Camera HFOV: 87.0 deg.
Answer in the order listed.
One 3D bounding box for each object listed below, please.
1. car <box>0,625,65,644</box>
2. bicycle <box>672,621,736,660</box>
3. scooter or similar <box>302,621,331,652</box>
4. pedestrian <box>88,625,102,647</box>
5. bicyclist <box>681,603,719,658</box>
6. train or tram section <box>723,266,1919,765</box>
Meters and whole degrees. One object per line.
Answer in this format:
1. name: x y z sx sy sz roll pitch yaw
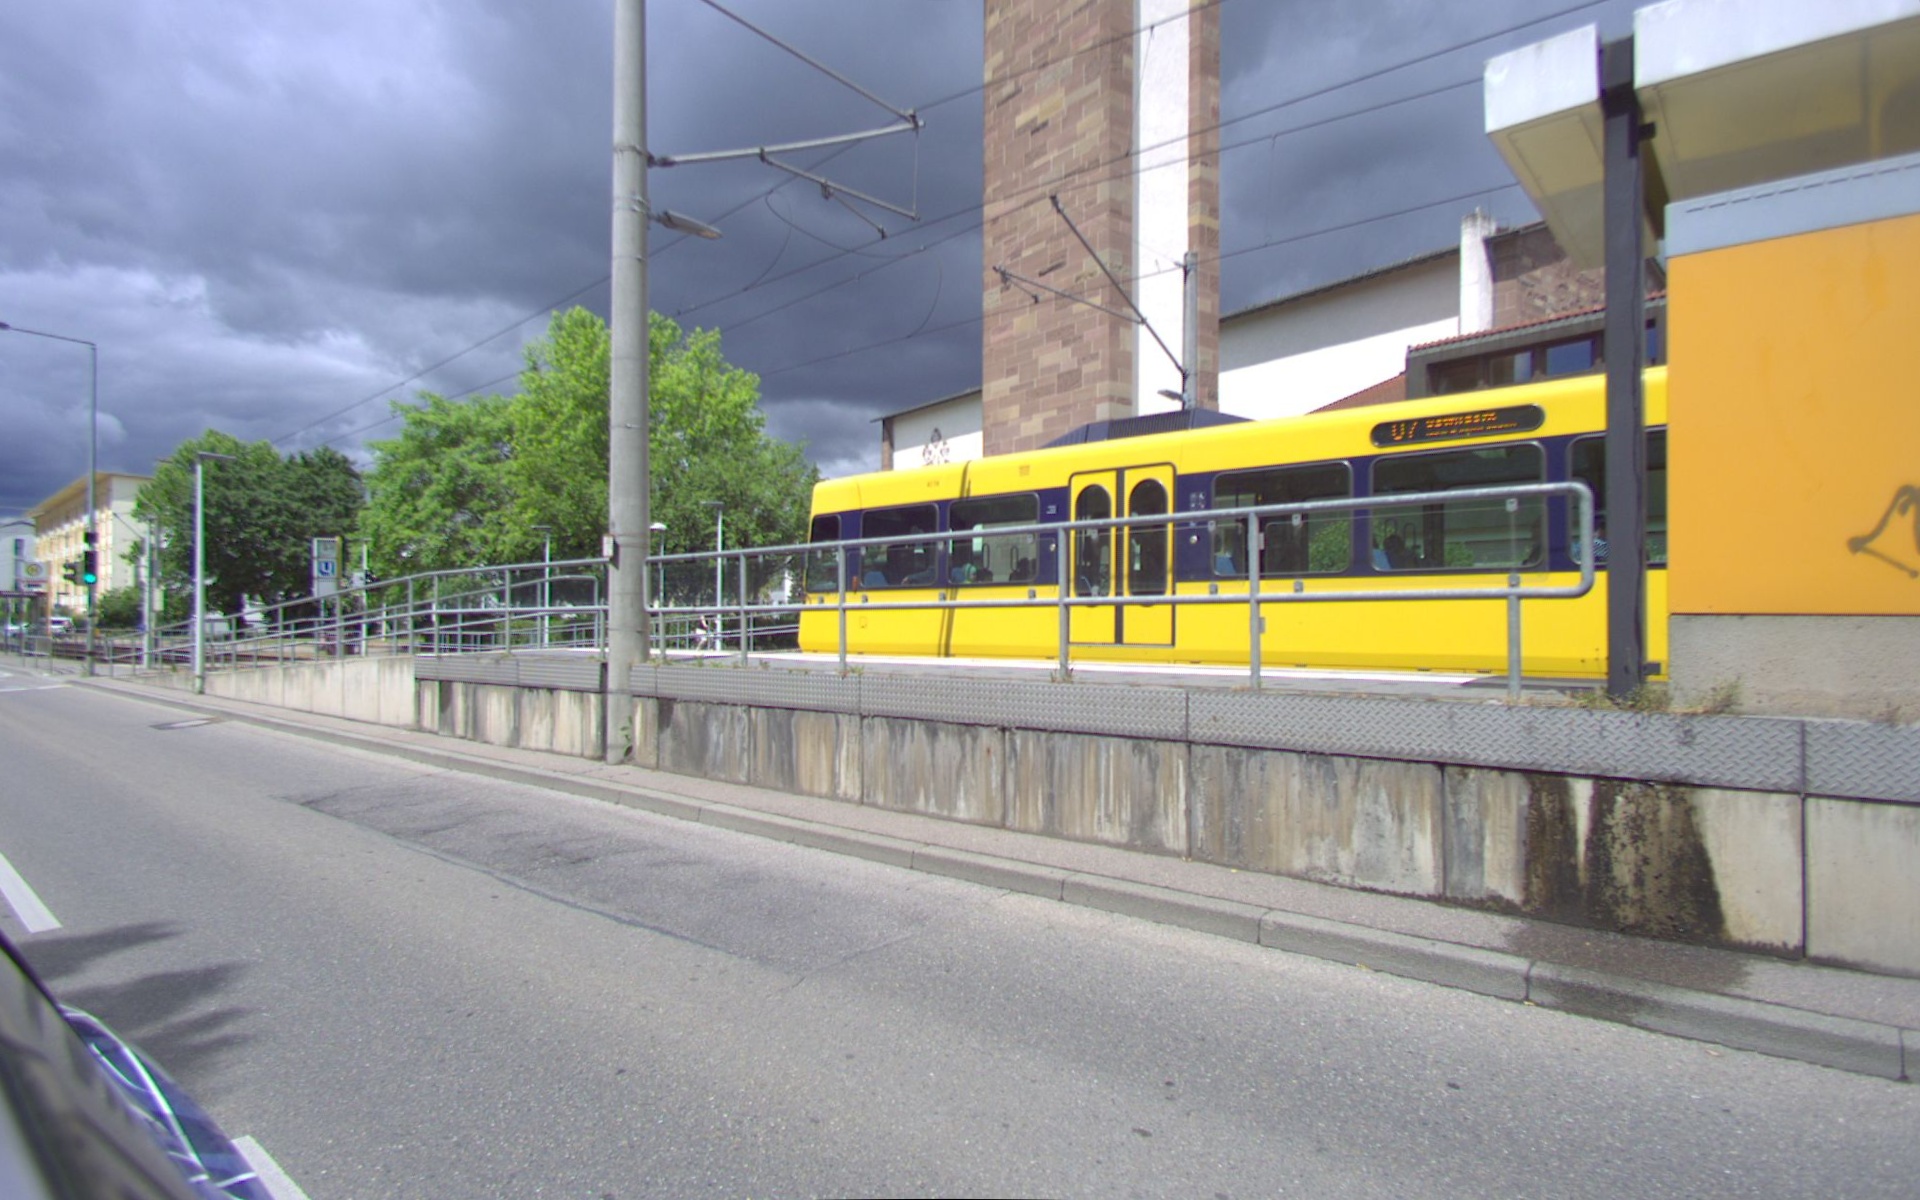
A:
1. car: -73.930 2.731 80.439 4.073 1.303 1.635 5 -5 -39
2. bicycle: -6.861 1.071 27.069 1.927 1.001 0.631 -1 0 41
3. scooter or similar: -26.985 1.519 42.415 1.400 1.246 0.642 -3 -1 41
4. pedestrian: -61.672 2.544 72.132 0.873 1.552 0.607 -1 -1 39
5. bicyclist: -6.988 0.804 27.197 0.790 1.440 0.627 -1 0 40
6. train or tram section: 4.409 -0.543 11.101 18.813 3.491 3.076 -1 0 41
